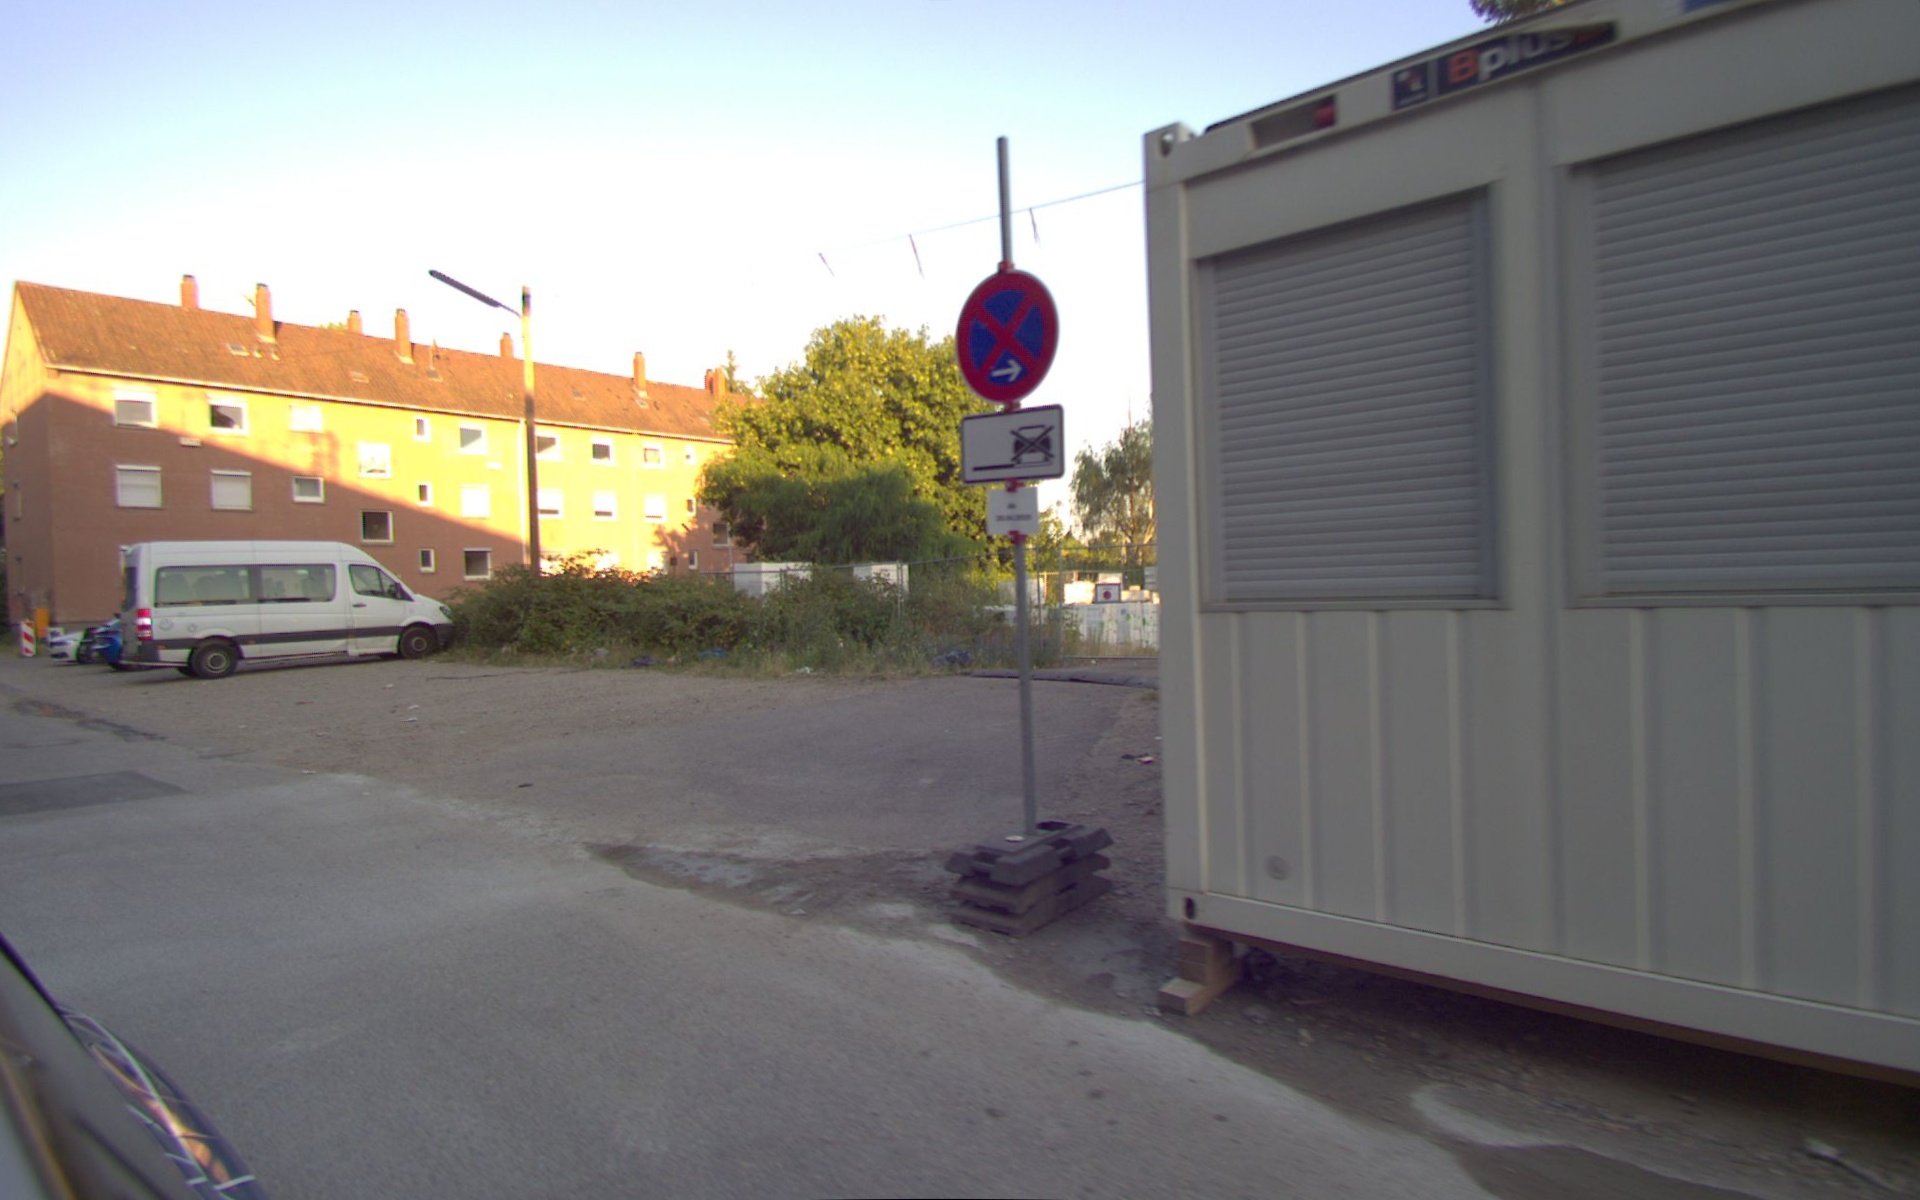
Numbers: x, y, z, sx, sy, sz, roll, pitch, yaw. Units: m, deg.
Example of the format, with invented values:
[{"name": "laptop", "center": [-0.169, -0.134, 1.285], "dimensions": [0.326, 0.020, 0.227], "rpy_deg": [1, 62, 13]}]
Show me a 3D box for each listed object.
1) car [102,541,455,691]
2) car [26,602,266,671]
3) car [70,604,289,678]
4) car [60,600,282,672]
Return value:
[{"name": "car", "center": [-13.943, 0.192, 21.045], "dimensions": [2.222, 2.645, 5.628], "rpy_deg": [-2, 2, 42]}, {"name": "car", "center": [-23.227, 0.986, 29.082], "dimensions": [2.111, 1.556, 4.950], "rpy_deg": [-2, 2, 36]}, {"name": "car", "center": [-18.647, 0.925, 24.317], "dimensions": [1.725, 1.440, 3.801], "rpy_deg": [-2, 2, 37]}, {"name": "car", "center": [-21.094, 0.903, 27.234], "dimensions": [1.724, 1.556, 4.377], "rpy_deg": [-2, 2, 36]}]
